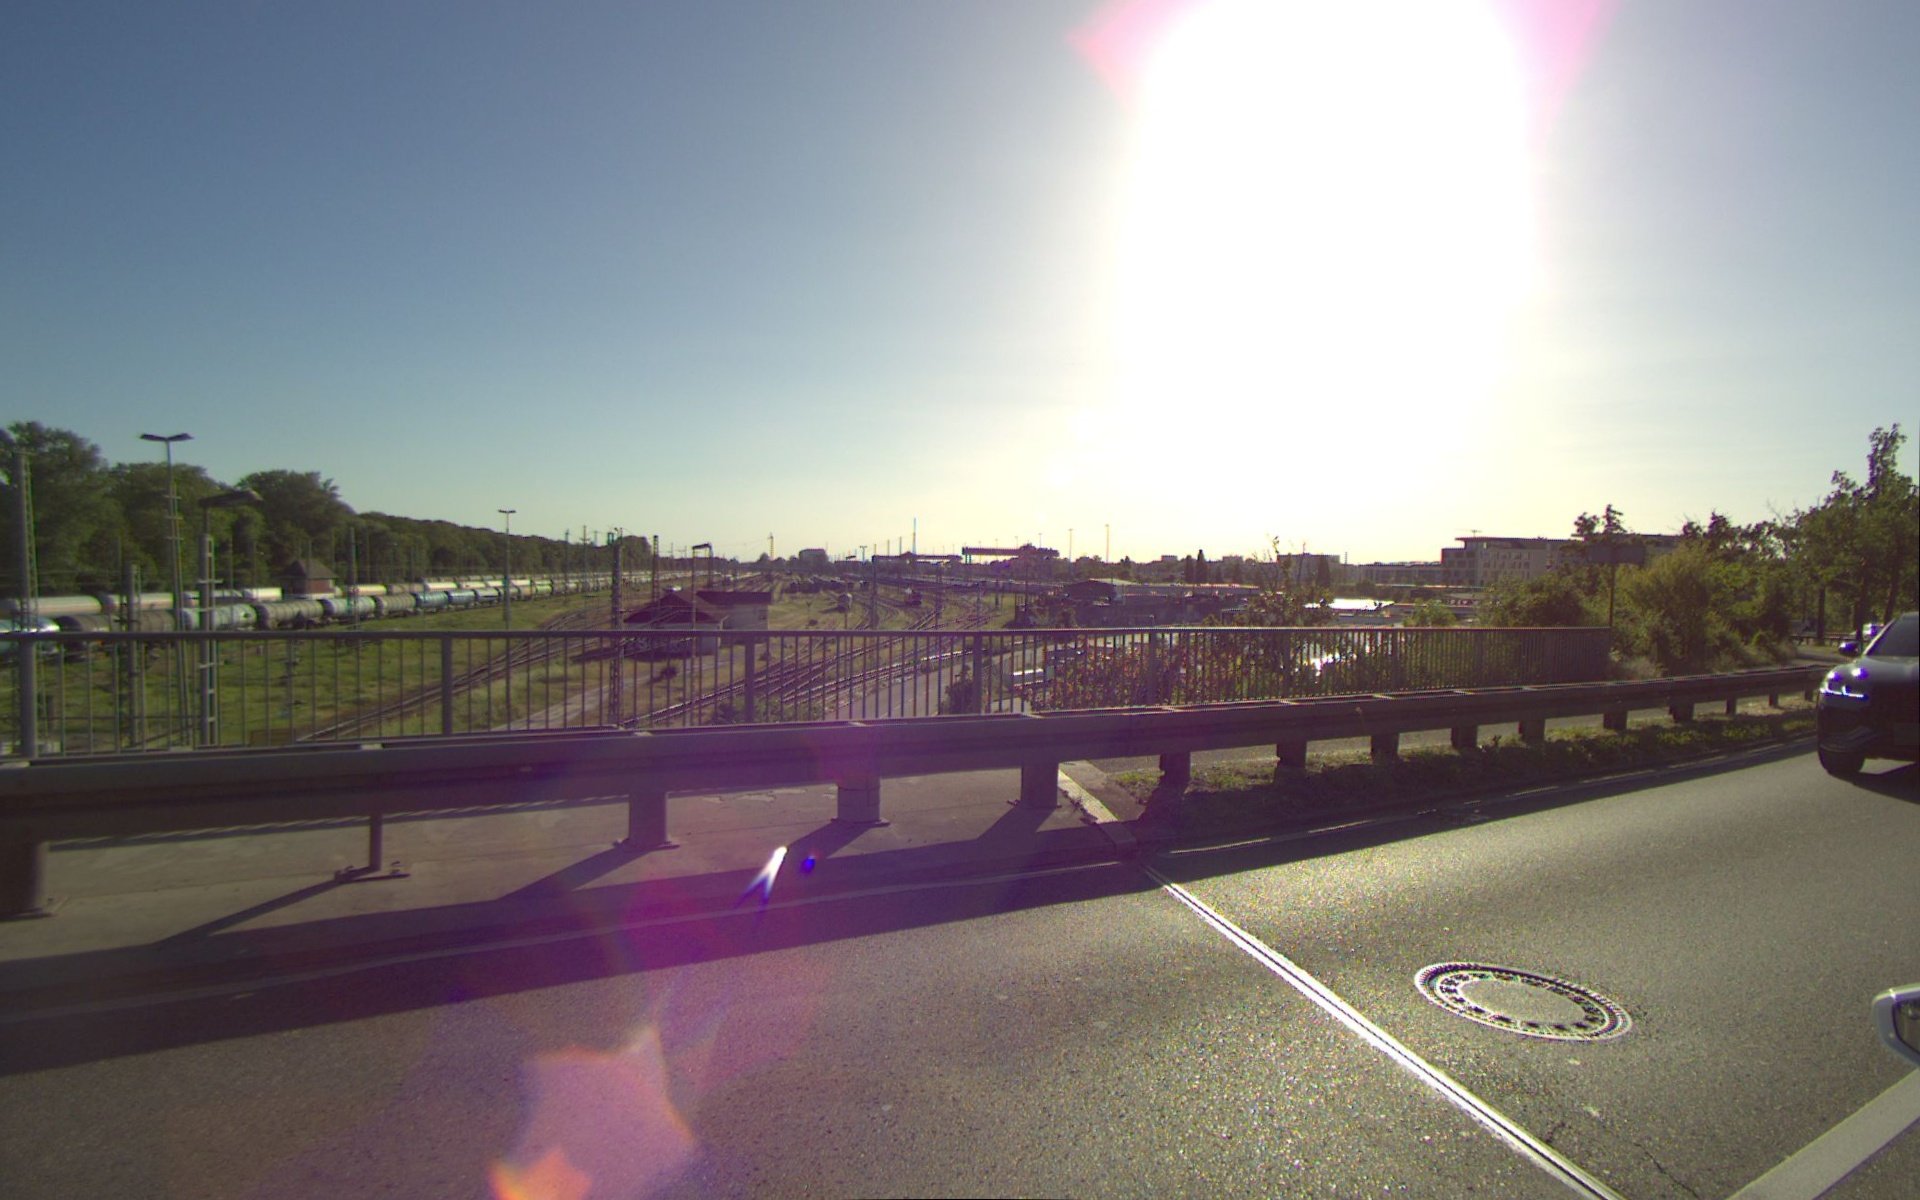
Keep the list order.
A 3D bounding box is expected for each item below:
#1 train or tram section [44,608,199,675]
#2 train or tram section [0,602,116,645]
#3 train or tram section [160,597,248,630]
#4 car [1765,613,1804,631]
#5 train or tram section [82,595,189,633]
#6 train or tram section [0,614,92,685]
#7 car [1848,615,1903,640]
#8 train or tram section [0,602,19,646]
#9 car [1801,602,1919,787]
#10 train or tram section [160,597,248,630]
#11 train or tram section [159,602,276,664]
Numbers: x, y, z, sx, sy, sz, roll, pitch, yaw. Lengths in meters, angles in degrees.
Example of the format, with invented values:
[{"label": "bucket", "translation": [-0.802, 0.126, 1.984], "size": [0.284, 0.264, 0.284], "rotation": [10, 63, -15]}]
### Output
[{"label": "train or tram section", "translation": [-83.327, 3.908, 100.611], "size": [3.835, 6.089, 16.932], "rotation": [0, 0, -9]}, {"label": "train or tram section", "translation": [-117.448, 2.825, 130.101], "size": [3.976, 5.154, 17.834], "rotation": [0, 0, -10]}, {"label": "train or tram section", "translation": [-123.905, 2.096, 165.170], "size": [3.976, 5.154, 17.834], "rotation": [0, 0, -10]}, {"label": "car", "translation": [72.327, 1.901, 88.151], "size": [1.807, 1.576, 3.888], "rotation": [0, 0, 27]}, {"label": "train or tram section", "translation": [-120.716, 1.987, 147.611], "size": [3.976, 5.154, 17.834], "rotation": [0, 0, -10]}, {"label": "train or tram section", "translation": [-80.608, 4.108, 84.109], "size": [3.835, 5.592, 16.477], "rotation": [0, 0, -9]}, {"label": "car", "translation": [62.351, 1.846, 68.448], "size": [1.831, 1.606, 3.908], "rotation": [0, 0, 28]}, {"label": "train or tram section", "translation": [-114.300, 2.771, 112.390], "size": [3.976, 5.154, 18.153], "rotation": [0, 0, -10]}, {"label": "car", "translation": [10.499, 0.874, 10.314], "size": [4.421, 1.665, 1.885], "rotation": [1, 0, -36]}, {"label": "train or tram section", "translation": [-123.916, 2.095, 165.141], "size": [3.976, 5.154, 17.834], "rotation": [0, 0, -10]}, {"label": "train or tram section", "translation": [-86.065, 3.651, 117.101], "size": [3.835, 6.699, 16.477], "rotation": [0, 0, -9]}]
